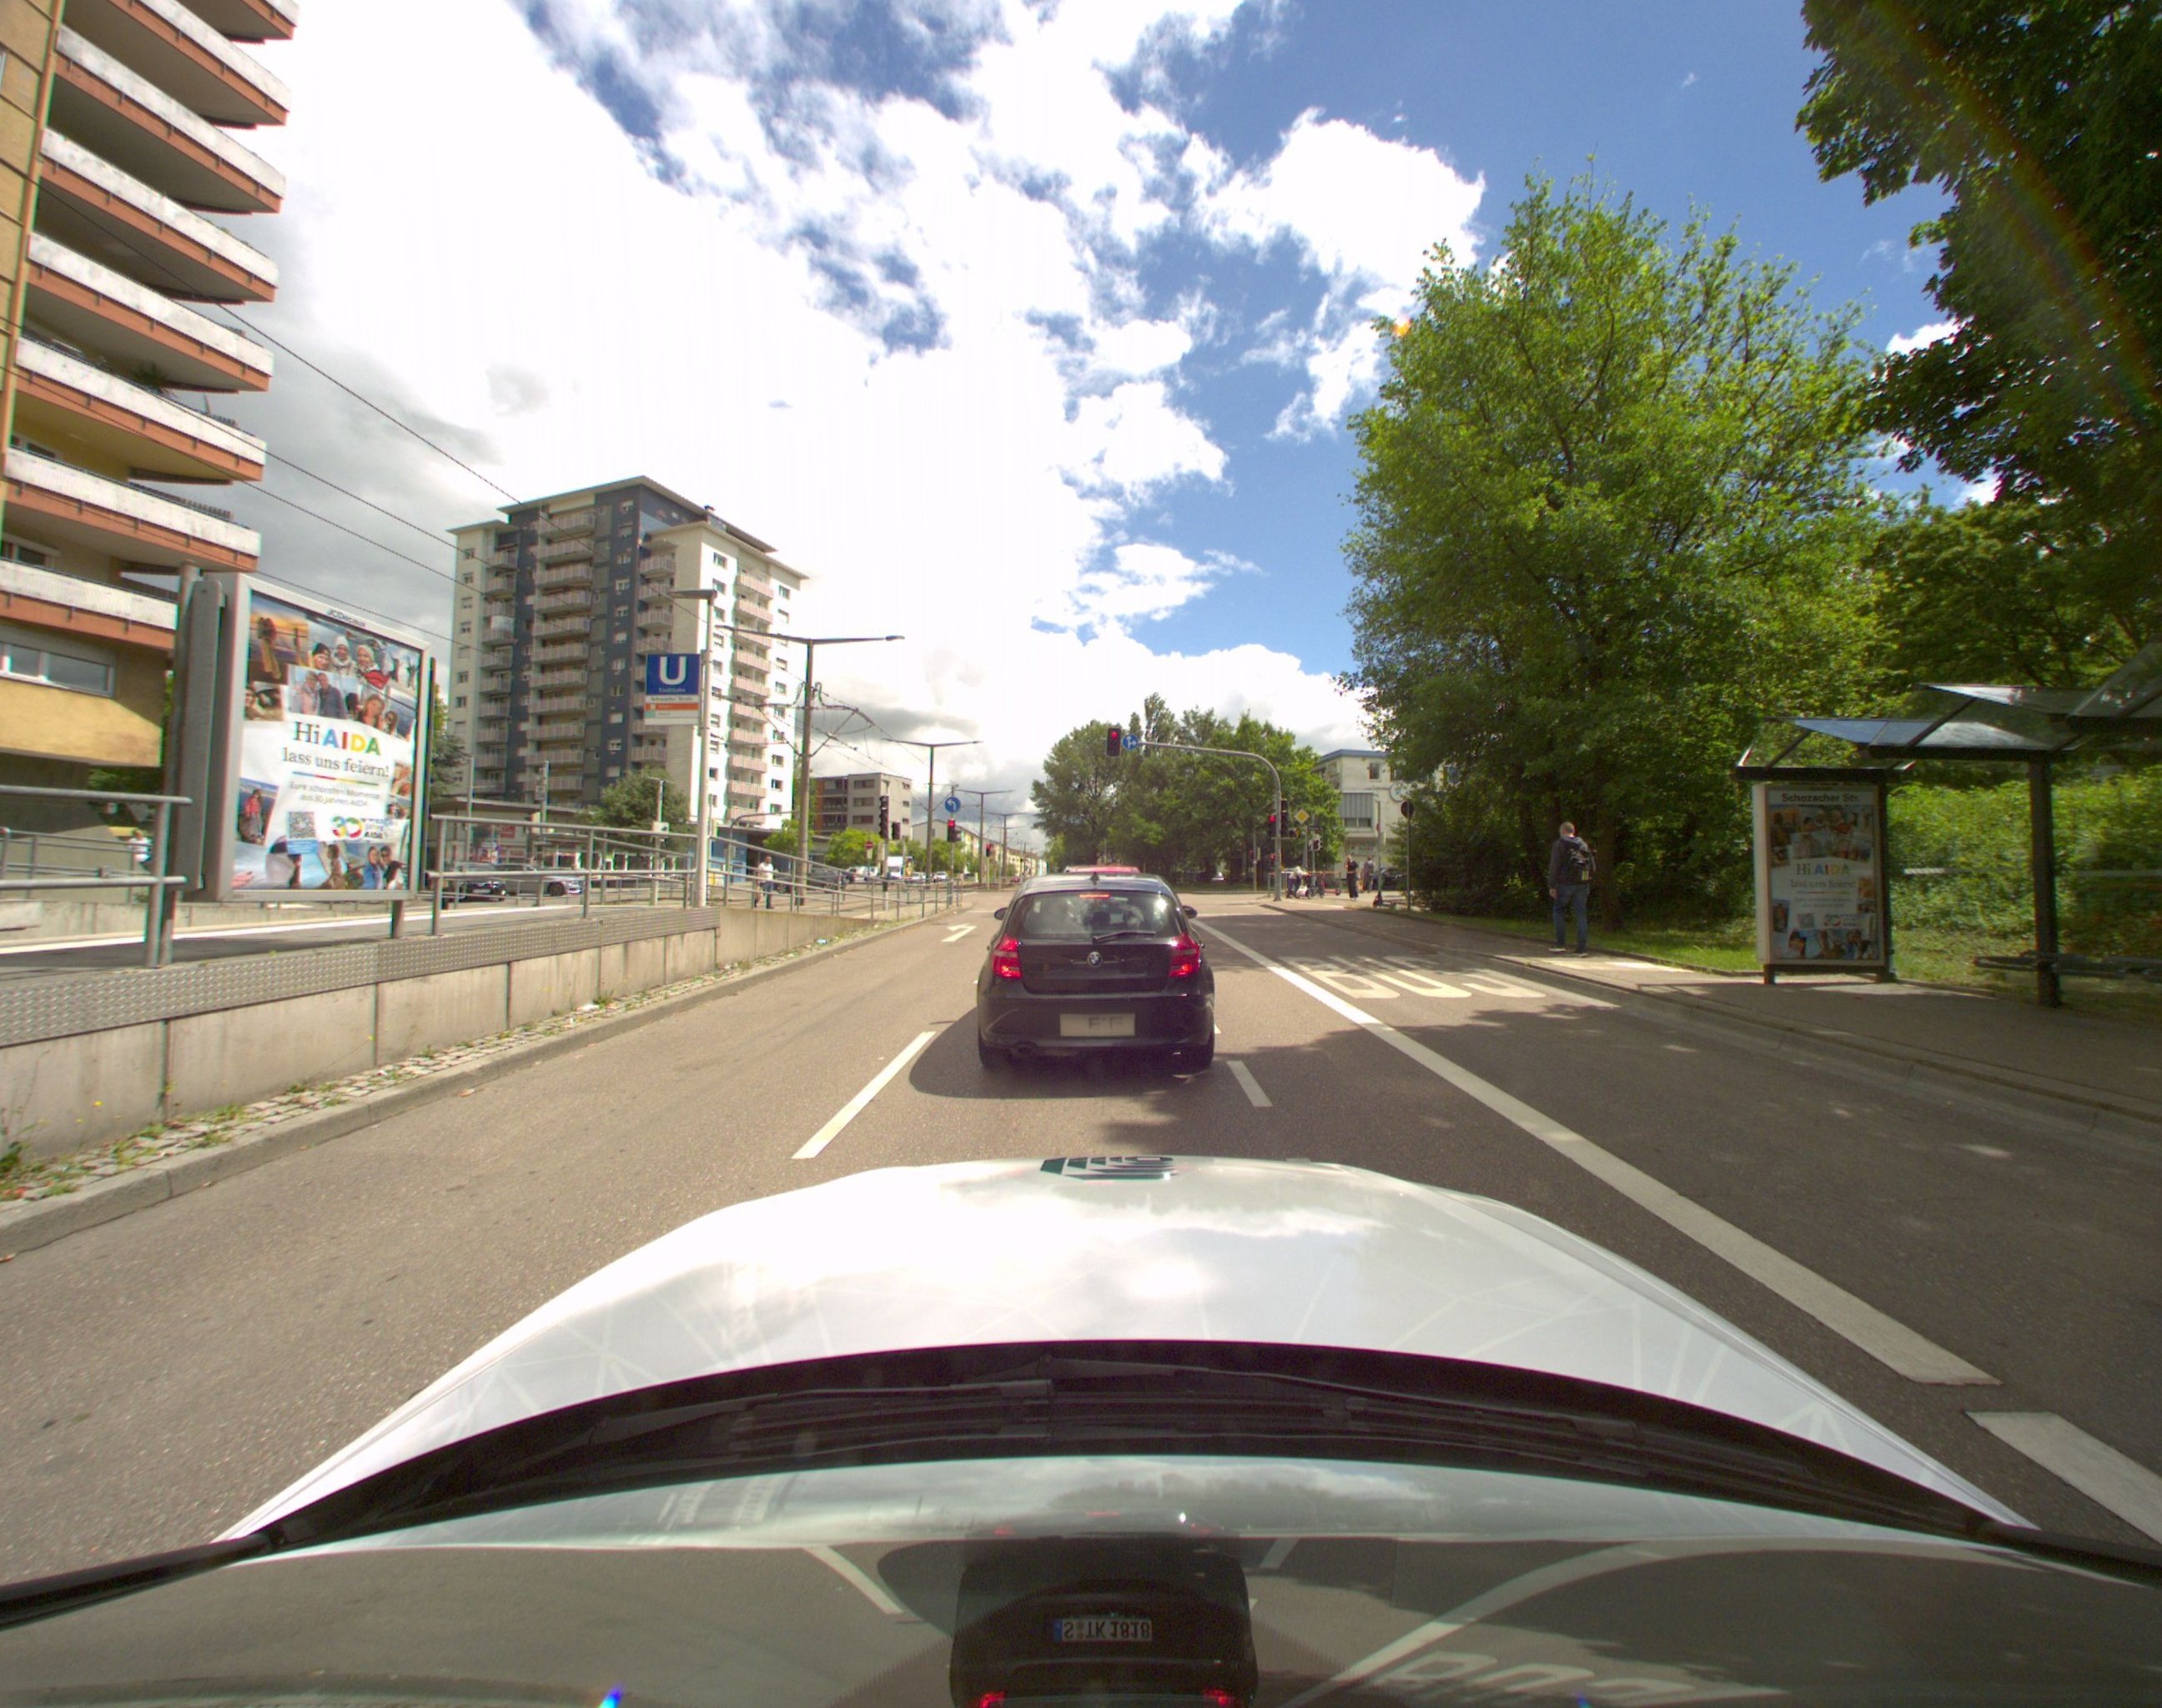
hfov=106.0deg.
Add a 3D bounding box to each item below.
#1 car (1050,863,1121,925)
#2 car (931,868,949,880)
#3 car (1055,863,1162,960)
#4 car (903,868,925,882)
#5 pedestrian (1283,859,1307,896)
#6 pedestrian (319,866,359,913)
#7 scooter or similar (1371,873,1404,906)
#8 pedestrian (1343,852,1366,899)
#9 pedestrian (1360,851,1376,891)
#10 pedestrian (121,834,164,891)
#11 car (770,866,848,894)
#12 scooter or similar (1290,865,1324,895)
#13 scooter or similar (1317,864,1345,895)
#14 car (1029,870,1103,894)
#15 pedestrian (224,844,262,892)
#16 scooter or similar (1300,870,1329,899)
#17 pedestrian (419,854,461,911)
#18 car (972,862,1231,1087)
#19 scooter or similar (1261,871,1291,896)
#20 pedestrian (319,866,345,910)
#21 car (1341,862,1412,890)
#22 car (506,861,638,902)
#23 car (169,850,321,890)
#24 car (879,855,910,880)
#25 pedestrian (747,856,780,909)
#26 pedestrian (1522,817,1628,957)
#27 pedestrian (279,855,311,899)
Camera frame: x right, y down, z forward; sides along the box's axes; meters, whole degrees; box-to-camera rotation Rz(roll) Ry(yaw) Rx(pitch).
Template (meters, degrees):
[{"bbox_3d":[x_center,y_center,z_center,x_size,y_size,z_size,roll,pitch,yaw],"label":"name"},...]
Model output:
[{"bbox_3d":[0.112,0.959,20.871,1.649,1.419,3.516,0,0,0],"label":"car"},{"bbox_3d":[-20.856,2.939,120.395,1.960,1.596,3.999,0,-1,0],"label":"car"},{"bbox_3d":[0.492,0.882,13.868,1.588,1.419,3.519,0,0,3],"label":"car"},{"bbox_3d":[-20.758,2.595,101.319,1.960,1.596,3.999,0,-1,0],"label":"car"},{"bbox_3d":[8.290,0.902,31.533,0.859,1.442,0.801,-1,-1,14],"label":"pedestrian"},{"bbox_3d":[-21.962,1.043,24.112,0.691,1.343,0.852,0,-1,-29],"label":"pedestrian"},{"bbox_3d":[10.736,1.238,28.531,1.153,1.099,0.329,0,-1,-22],"label":"scooter or similar"},{"bbox_3d":[10.723,0.853,31.965,0.753,1.790,0.571,3,-1,18],"label":"pedestrian"},{"bbox_3d":[13.292,0.783,37.684,0.608,1.790,0.571,3,-1,20],"label":"pedestrian"},{"bbox_3d":[-28.841,0.263,25.031,0.816,1.706,0.686,-1,-1,27],"label":"pedestrian"},{"bbox_3d":[-15.559,1.502,46.774,3.983,1.526,1.671,0,-1,-7],"label":"car"},{"bbox_3d":[9.137,1.045,32.975,1.290,1.189,0.383,-1,-1,-14],"label":"scooter or similar"},{"bbox_3d":[10.388,1.053,33.840,1.107,1.258,0.331,-1,-1,-10],"label":"scooter or similar"},{"bbox_3d":[-0.923,1.659,48.759,4.318,1.394,1.709,0,-1,-7],"label":"car"},{"bbox_3d":[-28.298,0.467,27.524,0.625,1.578,0.853,0,-1,-26],"label":"pedestrian"},{"bbox_3d":[9.039,1.149,31.469,0.405,1.051,1.797,-1,0,38],"label":"scooter or similar"},{"bbox_3d":[-18.889,0.827,23.992,0.698,1.633,0.638,-1,-1,4],"label":"pedestrian"},{"bbox_3d":[0.237,0.790,6.967,1.647,1.419,3.520,-1,0,4],"label":"car"},{"bbox_3d":[7.639,1.167,31.894,1.121,0.957,0.299,-1,-1,-14],"label":"scooter or similar"},{"bbox_3d":[-23.359,1.062,25.388,0.660,1.343,0.558,-1,-1,44],"label":"pedestrian"},{"bbox_3d":[17.392,1.296,48.055,3.578,1.601,1.705,0,-1,-11],"label":"car"},{"bbox_3d":[-22.234,1.185,35.730,4.470,1.693,1.997,0,-1,-4],"label":"car"},{"bbox_3d":[-36.405,0.693,35.558,4.466,1.693,1.999,0,-1,-2],"label":"car"},{"bbox_3d":[-20.418,1.503,89.514,2.132,2.640,5.358,0,-1,0],"label":"car"},{"bbox_3d":[-10.246,0.910,26.295,0.849,1.697,0.693,-1,-1,42],"label":"pedestrian"},{"bbox_3d":[7.068,0.453,11.711,0.798,1.895,1.271,1,-1,3],"label":"pedestrian"},{"bbox_3d":[-28.626,0.826,29.672,0.778,1.583,0.602,0,-1,-40],"label":"pedestrian"}]
